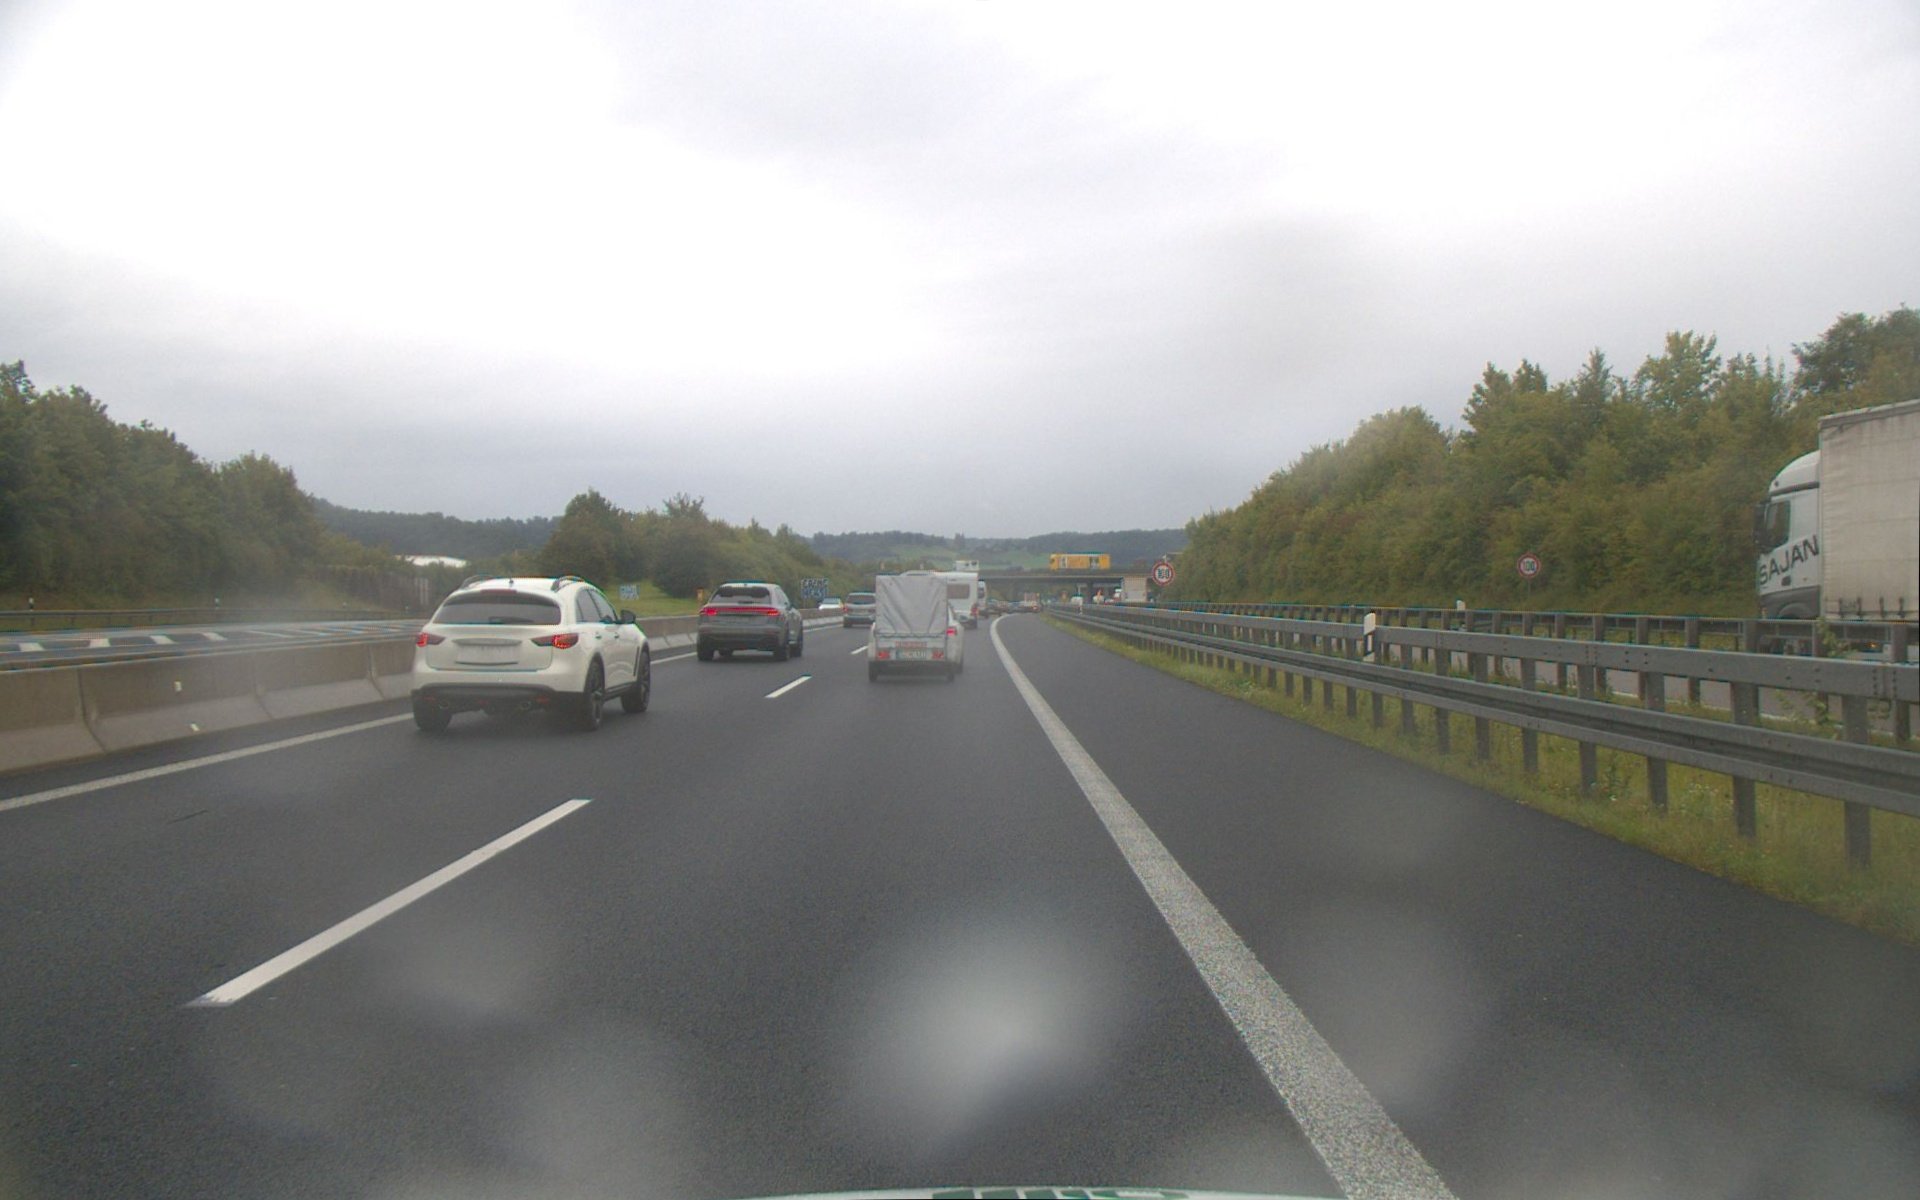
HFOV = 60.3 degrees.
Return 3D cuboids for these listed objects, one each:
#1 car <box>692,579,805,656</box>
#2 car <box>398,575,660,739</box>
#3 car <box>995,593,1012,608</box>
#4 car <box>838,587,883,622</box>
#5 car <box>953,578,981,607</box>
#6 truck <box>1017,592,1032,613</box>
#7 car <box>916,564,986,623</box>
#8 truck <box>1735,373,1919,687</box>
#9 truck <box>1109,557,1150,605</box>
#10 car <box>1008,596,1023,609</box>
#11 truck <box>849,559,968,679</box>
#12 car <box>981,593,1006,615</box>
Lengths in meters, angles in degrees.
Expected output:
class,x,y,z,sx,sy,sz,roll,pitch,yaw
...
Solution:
class,x,y,z,sx,sy,sz,roll,pitch,yaw
car,-4.786,0.379,38.043,2.130,1.660,4.499,0,0,-1
car,-4.794,0.580,19.093,1.936,1.668,4.499,0,0,-1
car,5.265,0.038,198.684,1.952,1.780,4.001,1,0,2
car,-4.637,0.194,77.590,1.861,1.641,4.017,0,0,0
car,0.486,-0.557,121.627,1.953,2.071,4.150,1,0,-1
truck,10.071,0.430,257.462,2.230,3.136,7.249,1,0,3
car,-0.350,-0.321,77.954,2.953,2.662,6.077,0,0,3
truck,15.008,-0.973,23.131,3.367,4.364,10.416,0,0,-1
truck,19.160,-2.129,187.633,4.008,5.193,10.467,0,0,2
car,7.895,0.357,233.429,1.952,1.780,4.002,1,0,3
truck,-0.852,0.305,31.455,1.977,2.020,7.213,0,0,0
car,2.869,0.342,143.883,1.953,1.780,3.999,1,0,-1
